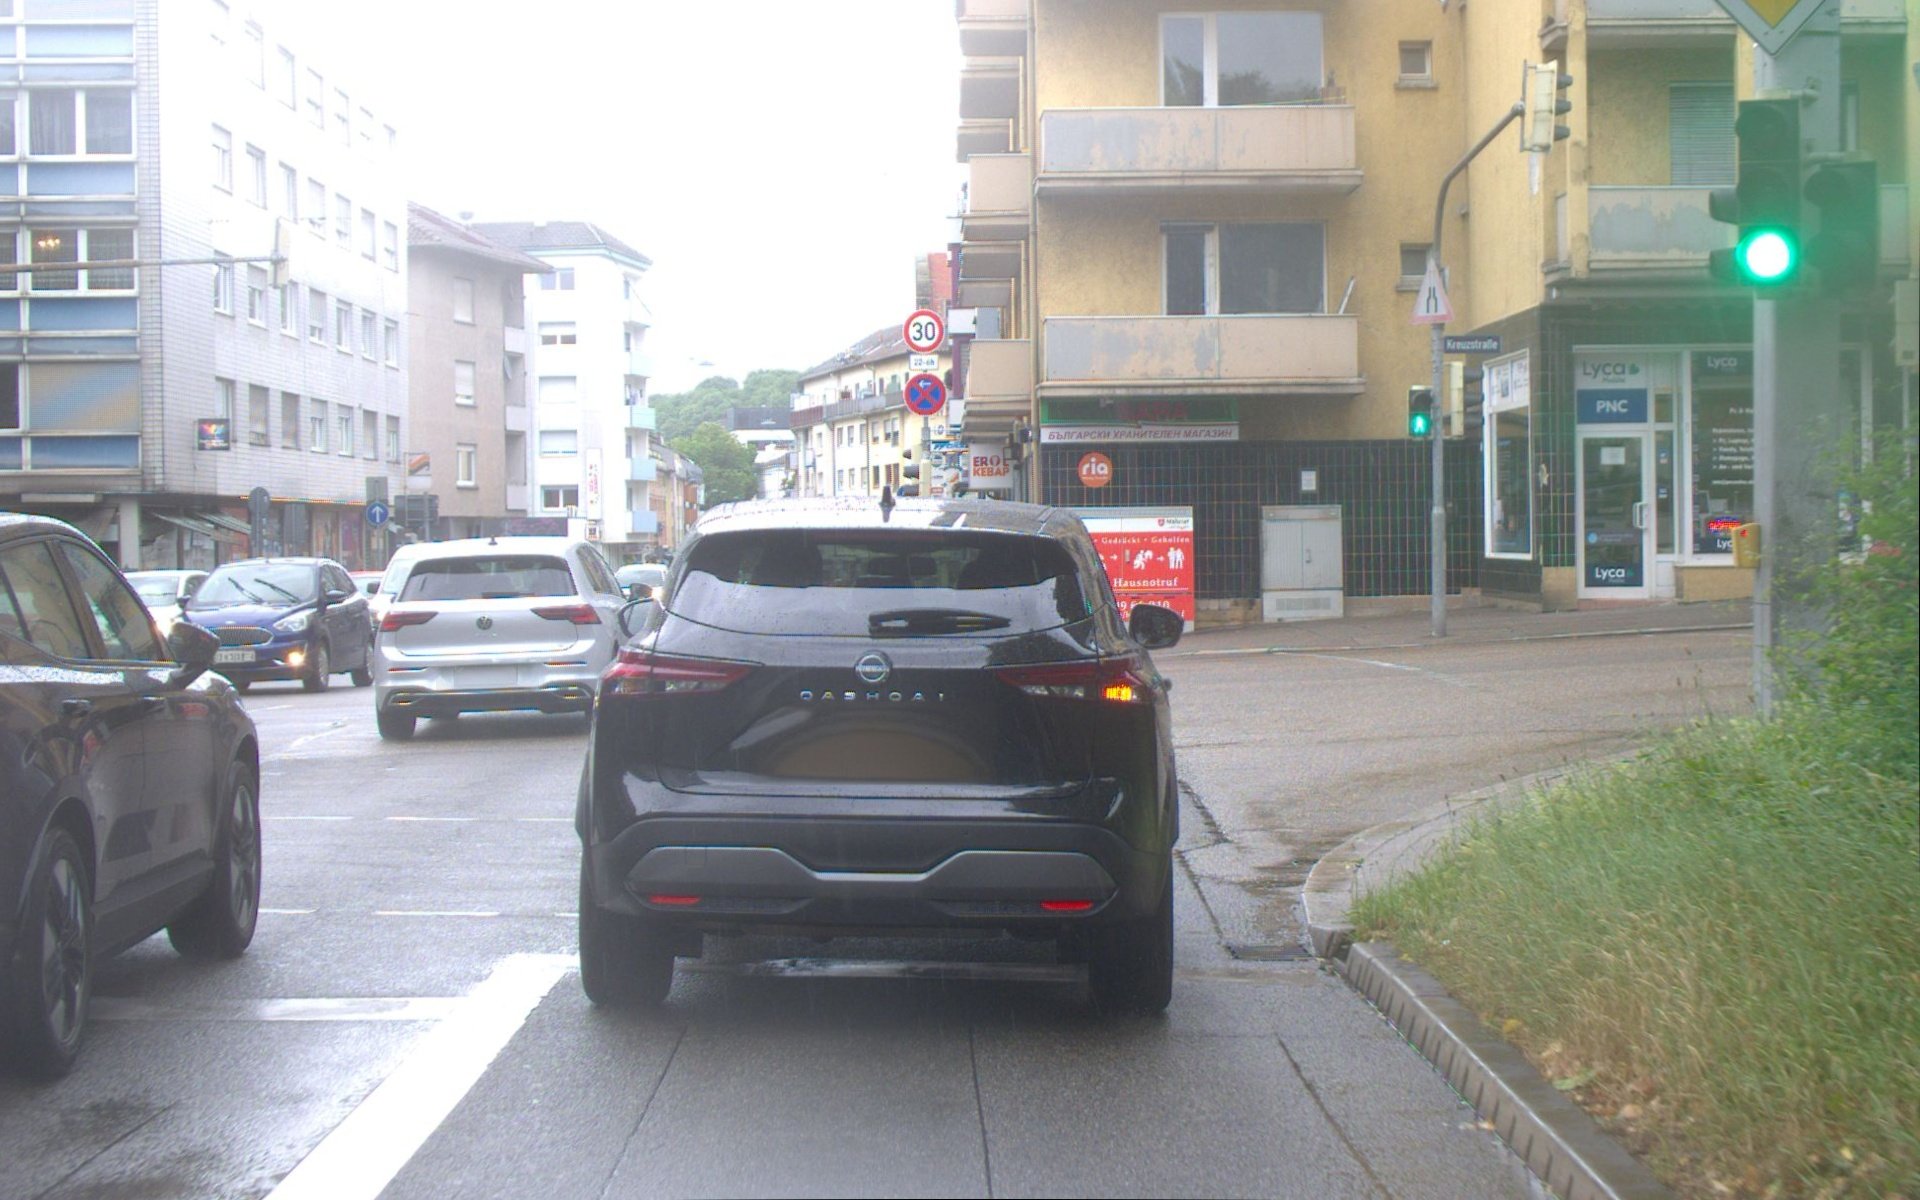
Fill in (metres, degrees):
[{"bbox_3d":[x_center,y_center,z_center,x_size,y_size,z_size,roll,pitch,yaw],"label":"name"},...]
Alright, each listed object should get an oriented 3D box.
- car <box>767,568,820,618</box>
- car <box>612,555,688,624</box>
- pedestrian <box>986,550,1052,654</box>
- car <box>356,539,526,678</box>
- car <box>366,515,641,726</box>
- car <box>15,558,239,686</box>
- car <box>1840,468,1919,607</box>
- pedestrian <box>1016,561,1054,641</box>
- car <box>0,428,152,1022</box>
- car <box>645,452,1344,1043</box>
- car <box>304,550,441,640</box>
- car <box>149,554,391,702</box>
[{"bbox_3d":[-7.211,-0.317,149.118,1.993,2.007,4.000,-3,1,1],"label":"car"},{"bbox_3d":[-9.681,-0.354,107.515,1.910,2.007,4.000,-3,1,0],"label":"car"},{"bbox_3d":[0.933,0.025,54.669,0.835,1.553,0.833,-7,1,-2],"label":"pedestrian"},{"bbox_3d":[-7.295,0.081,48.657,1.779,1.809,4.406,-2,1,-1],"label":"car"},{"bbox_3d":[-3.376,0.099,26.062,1.767,1.439,4.001,-1,1,-4],"label":"car"},{"bbox_3d":[-10.813,0.257,44.872,1.779,1.473,3.793,-4,1,2],"label":"car"},{"bbox_3d":[12.334,-0.812,40.501,3.471,1.551,1.473,-3,2,-2],"label":"car"},{"bbox_3d":[1.196,0.013,54.952,0.463,1.229,0.554,-7,1,-1],"label":"pedestrian"},{"bbox_3d":[-3.090,0.305,7.951,1.613,1.415,3.967,0,1,-2],"label":"car"},{"bbox_3d":[0.032,0.389,11.793,1.959,1.647,4.000,1,1,-2],"label":"car"},{"bbox_3d":[-10.097,-0.110,59.352,1.804,1.404,4.393,-3,1,-4],"label":"car"},{"bbox_3d":[-7.658,0.274,38.507,1.787,1.486,3.814,-3,1,2],"label":"car"}]
